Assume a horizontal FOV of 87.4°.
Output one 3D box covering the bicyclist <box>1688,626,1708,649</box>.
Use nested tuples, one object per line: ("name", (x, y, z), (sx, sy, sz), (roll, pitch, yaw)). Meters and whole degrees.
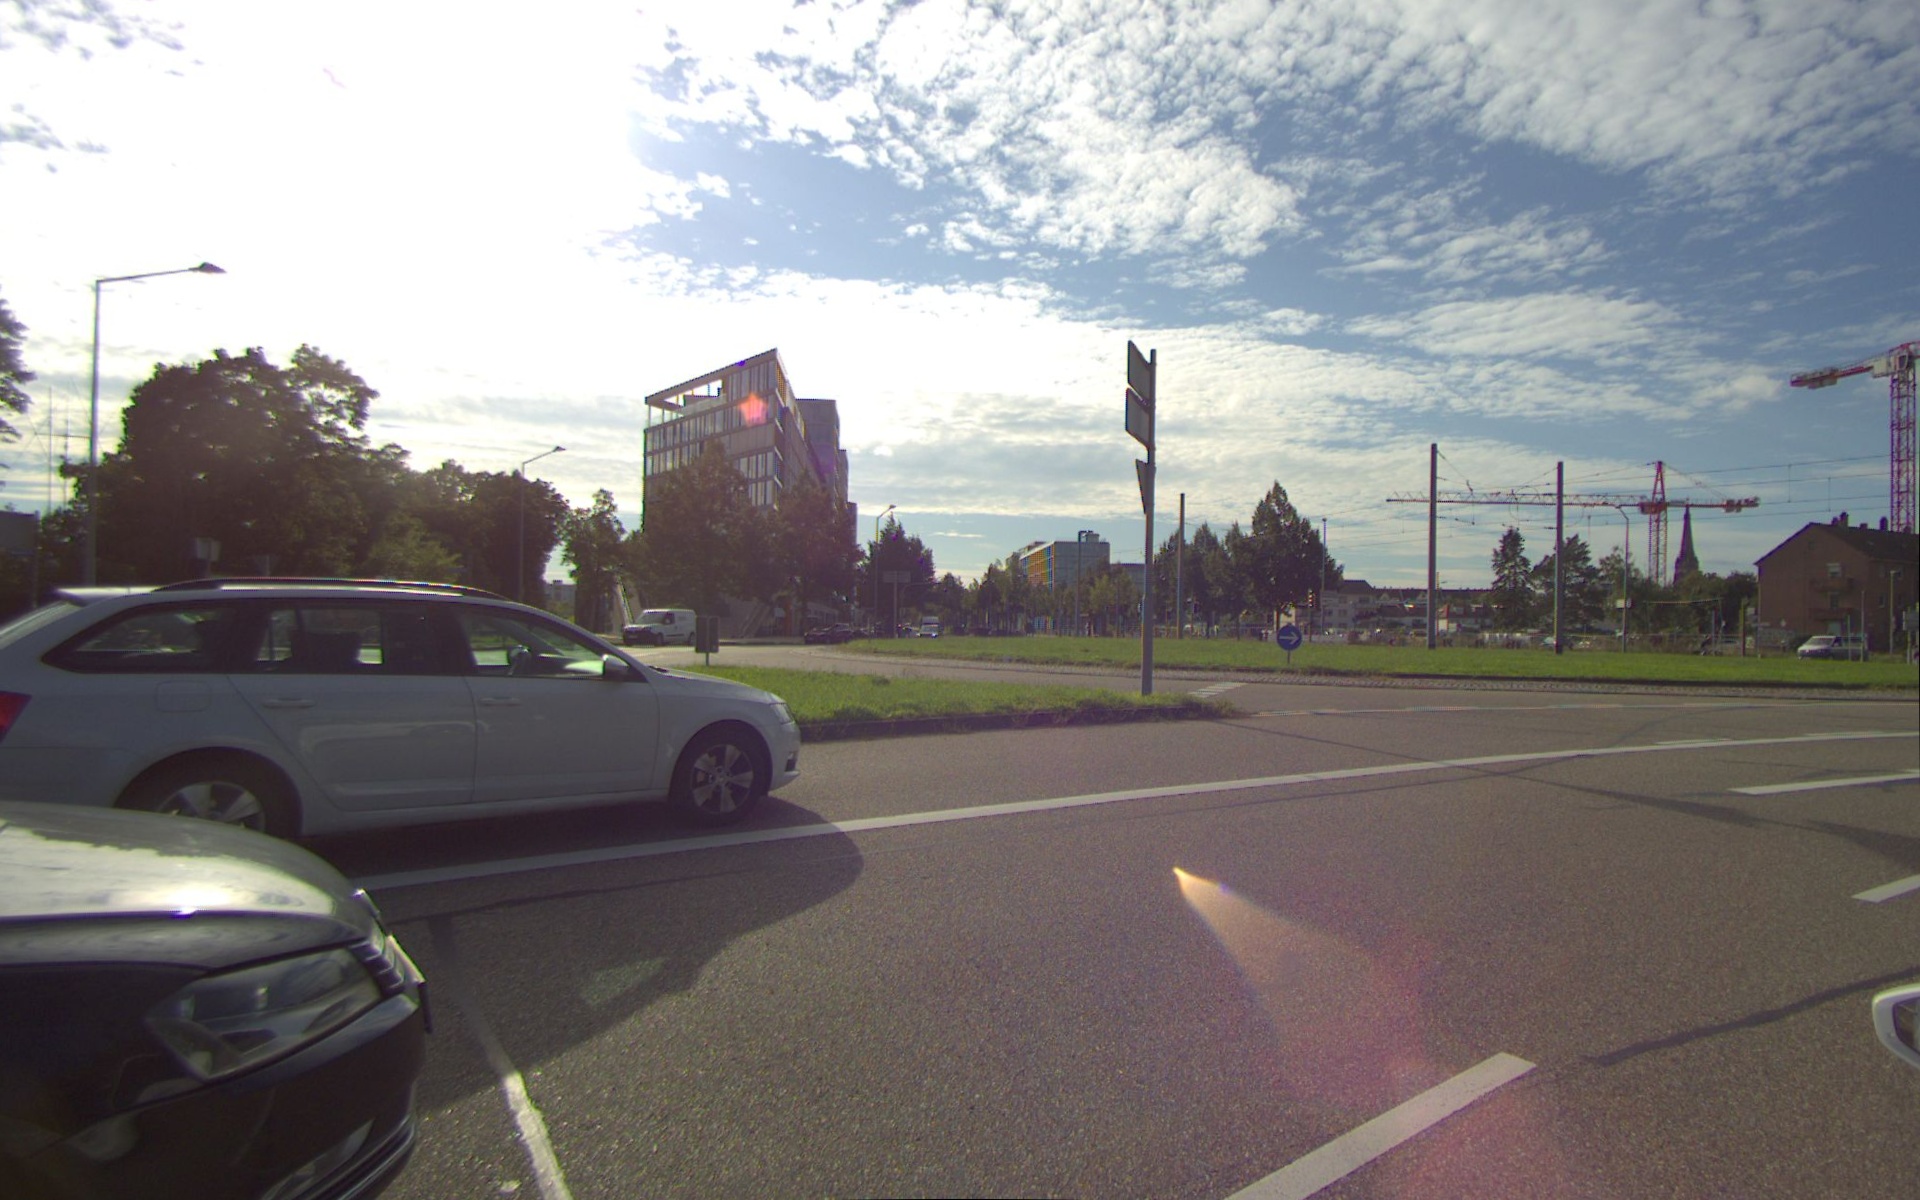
("bicyclist", (51.654, 2.611, 70.302), (0.767, 1.595, 0.948), (2, -2, -43))

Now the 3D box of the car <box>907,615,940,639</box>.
("car", (-3.504, 2.719, 98.949), (2.024, 2.293, 6.029), (-1, -2, 10))

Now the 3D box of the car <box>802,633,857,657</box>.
("car", (-8.383, 2.894, 64.871), (1.654, 1.521, 3.991), (-2, -2, 25))

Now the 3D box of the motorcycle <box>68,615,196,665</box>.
("motorcycle", (-17.470, 0.825, 21.258), (0.768, 0.999, 2.025), (0, -1, 14))

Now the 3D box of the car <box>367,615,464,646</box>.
("car", (-26.454, 1.464, 48.924), (3.943, 1.439, 1.759), (1, -1, -23))

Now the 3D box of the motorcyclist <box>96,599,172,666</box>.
("motorcyclist", (-17.459, 0.688, 21.250), (0.768, 1.384, 0.944), (0, -1, 14))

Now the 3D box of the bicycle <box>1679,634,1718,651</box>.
("bicycle", (51.658, 2.958, 70.287), (0.767, 1.152, 2.123), (2, -2, -43))

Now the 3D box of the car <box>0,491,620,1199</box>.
("car", (-3.164, 0.556, 1.220), (4.808, 1.587, 1.975), (2, 0, -42))

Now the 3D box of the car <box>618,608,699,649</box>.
("car", (-14.617, 1.405, 48.972), (1.652, 1.849, 4.564), (-1, -2, 15))

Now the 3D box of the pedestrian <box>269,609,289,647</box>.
("pedestrian", (-29.259, 1.207, 43.159), (0.497, 1.646, 0.546), (1, -1, -14))

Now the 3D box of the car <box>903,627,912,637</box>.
("car", (-11.533, 6.953, 220.107), (1.962, 2.040, 3.998), (1, -1, -5))

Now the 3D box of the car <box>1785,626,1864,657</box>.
("car", (60.597, 2.908, 70.417), (4.582, 1.928, 1.897), (2, -1, -14))

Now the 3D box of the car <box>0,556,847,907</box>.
("car", (-3.129, 0.605, 6.160), (4.602, 1.464, 1.834), (3, -1, -41))

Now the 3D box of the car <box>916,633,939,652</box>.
("car", (-2.588, 3.389, 80.156), (1.652, 1.521, 3.995), (-1, -2, 1))
